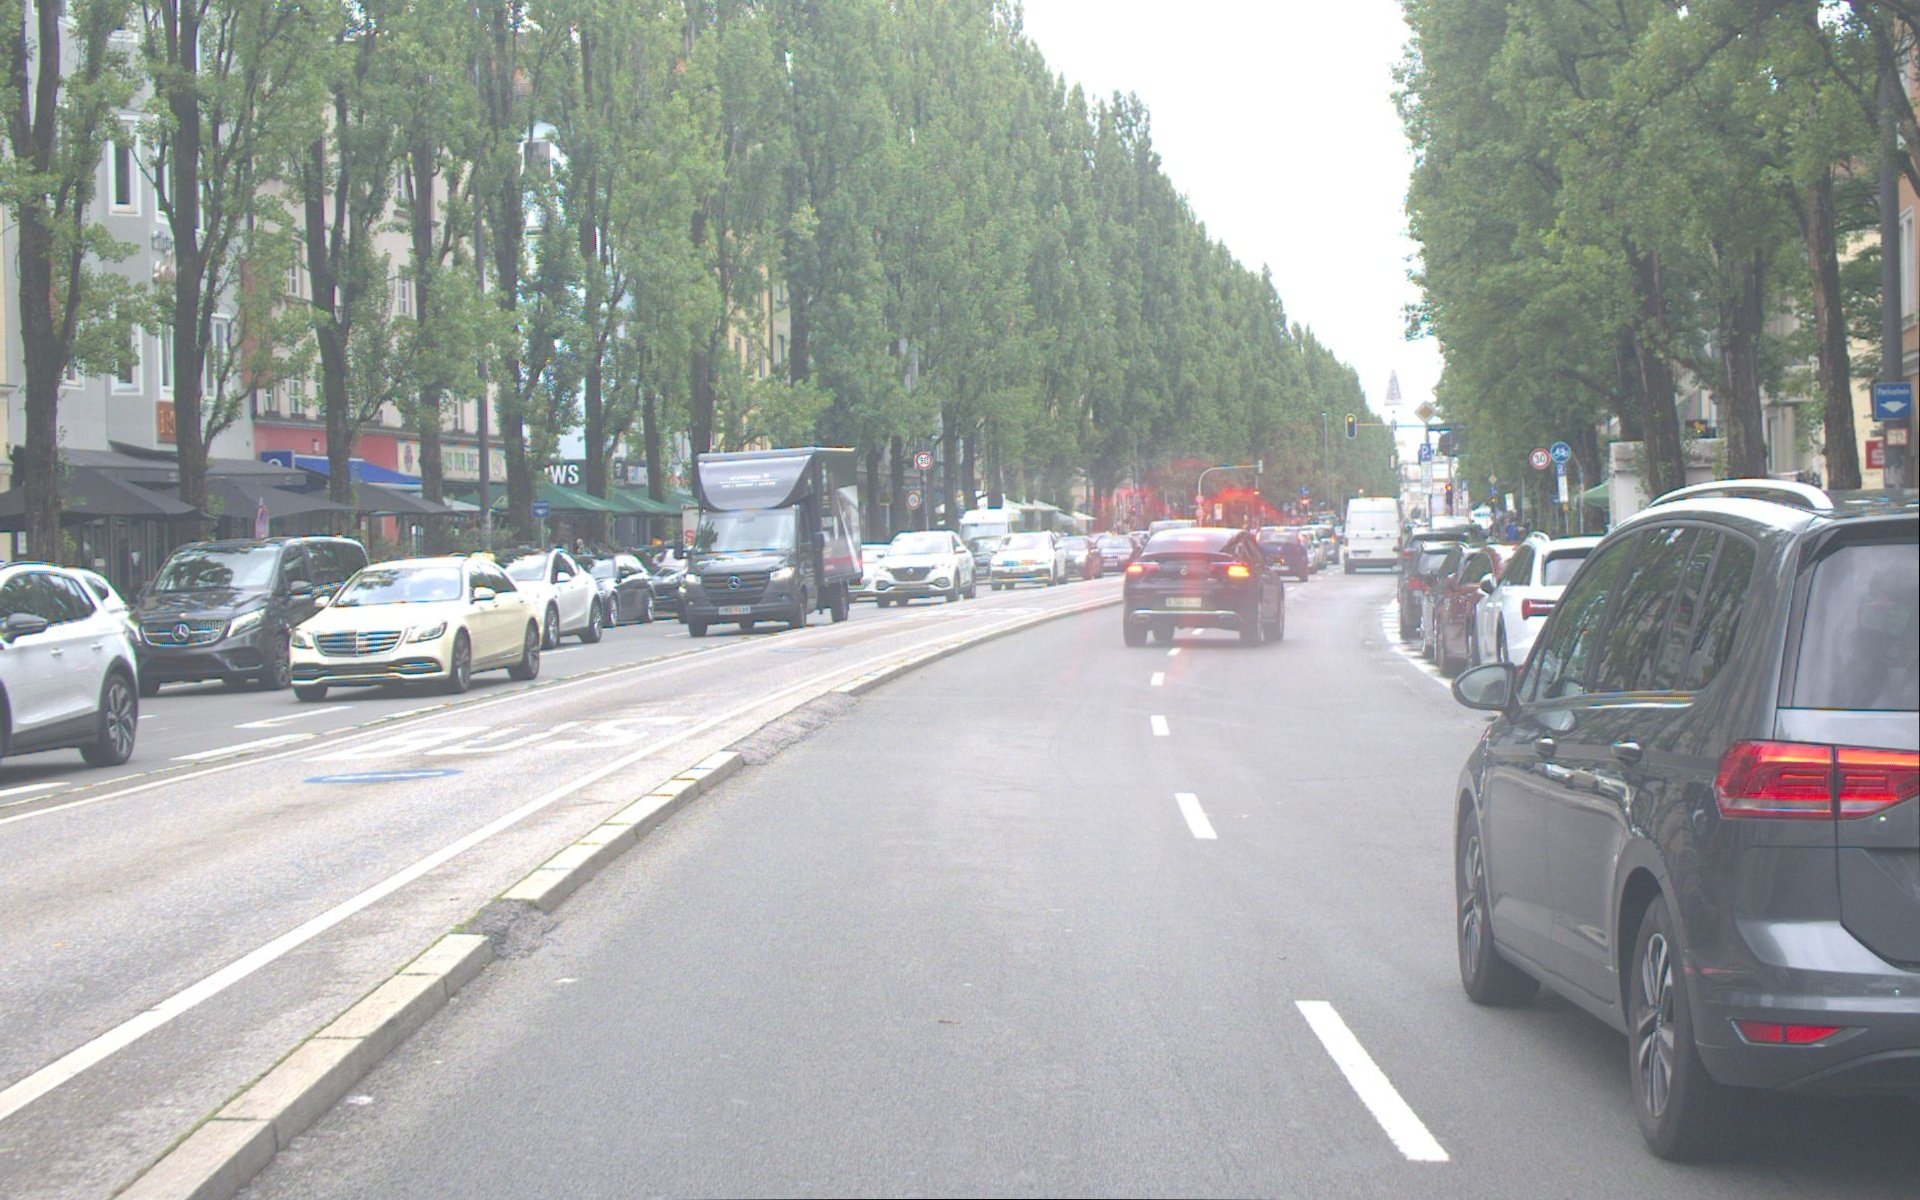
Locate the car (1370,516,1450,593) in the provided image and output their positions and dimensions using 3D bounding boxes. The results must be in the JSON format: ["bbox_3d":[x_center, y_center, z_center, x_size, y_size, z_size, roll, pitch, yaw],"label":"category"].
[{"bbox_3d":[9.742,-1.010,74.455,1.624,1.560,4.370,-1,1,7],"label":"car"}]

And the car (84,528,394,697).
[{"bbox_3d":[-8.983,0.089,43.413,1.994,1.857,5.710,-3,1,7],"label":"car"}]

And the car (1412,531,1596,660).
[{"bbox_3d":[6.535,-0.097,41.675,1.847,1.423,4.425,-1,1,5],"label":"car"}]

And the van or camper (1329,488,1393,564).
[{"bbox_3d":[13.597,-2.481,116.513,2.035,2.467,3.999,-1,0,8],"label":"van or camper"}]

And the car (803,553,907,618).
[{"bbox_3d":[-2.654,-0.389,88.021,1.940,1.488,4.456,-2,1,7],"label":"car"}]

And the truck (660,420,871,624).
[{"bbox_3d":[-3.339,-1.395,60.875,2.292,3.311,7.155,-2,1,8],"label":"truck"}]

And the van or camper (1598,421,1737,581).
[{"bbox_3d":[14.532,-2.030,70.852,2.461,3.101,4.714,-2,1,9],"label":"van or camper"}]

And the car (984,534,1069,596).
[{"bbox_3d":[1.931,-1.014,98.726,1.940,1.636,4.463,-2,1,7],"label":"car"}]

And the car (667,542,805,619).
[{"bbox_3d":[-4.593,-0.433,71.124,1.940,1.429,4.537,-2,1,8],"label":"car"}]

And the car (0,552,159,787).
[{"bbox_3d":[-7.535,0.498,25.242,1.910,1.597,4.354,-2,1,5],"label":"car"}]

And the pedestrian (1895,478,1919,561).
[{"bbox_3d":[18.757,-1.583,67.229,0.821,1.607,0.779,-2,1,11],"label":"pedestrian"}]

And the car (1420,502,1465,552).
[{"bbox_3d":[19.588,-2.942,139.626,1.805,1.985,3.999,0,1,8],"label":"car"}]

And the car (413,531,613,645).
[{"bbox_3d":[-7.153,-0.229,55.479,1.994,1.645,4.635,-2,1,8],"label":"car"}]

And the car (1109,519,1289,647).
[{"bbox_3d":[3.404,-0.280,48.240,1.881,1.636,4.581,-1,1,12],"label":"car"}]

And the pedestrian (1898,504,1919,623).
[{"bbox_3d":[13.071,-0.504,45.823,0.834,1.571,0.938,-2,1,0],"label":"pedestrian"}]

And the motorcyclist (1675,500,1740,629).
[{"bbox_3d":[8.364,-0.400,38.472,0.564,1.401,0.766,-2,1,4],"label":"motorcyclist"}]

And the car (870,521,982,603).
[{"bbox_3d":[-0.738,-0.884,78.382,1.861,1.705,4.535,-2,1,8],"label":"car"}]

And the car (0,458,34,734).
[{"bbox_3d":[-10.444,0.051,30.313,2.170,2.596,6.063,-2,1,7],"label":"car"}]

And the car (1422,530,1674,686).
[{"bbox_3d":[6.031,0.034,35.795,1.931,1.445,4.804,-2,1,2],"label":"car"}]

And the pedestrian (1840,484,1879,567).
[{"bbox_3d":[17.717,-1.463,67.731,0.673,1.607,0.640,-2,1,11],"label":"pedestrian"}]

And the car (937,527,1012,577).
[{"bbox_3d":[0.490,-1.545,111.152,1.849,1.559,4.211,-2,0,8],"label":"car"}]

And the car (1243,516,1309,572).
[{"bbox_3d":[9.218,-1.615,100.153,1.760,1.614,3.746,0,1,8],"label":"car"}]

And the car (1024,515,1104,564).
[{"bbox_3d":[3.326,-1.943,109.329,1.994,1.427,4.771,-2,1,8],"label":"car"}]

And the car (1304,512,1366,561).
[{"bbox_3d":[13.895,-2.363,127.225,1.994,1.711,3.999,-2,1,10],"label":"car"}]

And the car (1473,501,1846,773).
[{"bbox_3d":[4.718,0.206,23.827,1.925,1.694,4.649,0,1,4],"label":"car"}]

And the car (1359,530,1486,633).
[{"bbox_3d":[6.936,-0.312,51.852,1.733,1.389,4.432,-2,1,6],"label":"car"}]

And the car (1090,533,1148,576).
[{"bbox_3d":[5.590,-1.609,120.467,1.712,1.409,3.722,-2,1,7],"label":"car"}]

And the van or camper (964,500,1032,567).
[{"bbox_3d":[1.461,-2.529,129.803,1.994,2.450,4.250,-1,1,8],"label":"van or camper"}]

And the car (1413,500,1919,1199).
[{"bbox_3d":[2.435,0.543,9.408,1.761,1.608,4.184,-1,1,-1],"label":"car"}]

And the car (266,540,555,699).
[{"bbox_3d":[-6.251,0.168,39.790,1.994,1.583,5.195,-3,1,5],"label":"car"}]

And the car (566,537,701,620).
[{"bbox_3d":[-6.913,-0.477,73.154,1.863,1.624,4.167,-2,1,8],"label":"car"}]

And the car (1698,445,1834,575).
[{"bbox_3d":[15.288,-1.718,65.015,1.903,2.320,4.820,-2,1,20],"label":"car"}]

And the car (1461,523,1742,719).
[{"bbox_3d":[5.477,0.118,29.897,1.810,1.495,4.805,-2,1,4],"label":"car"}]

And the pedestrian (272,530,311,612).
[{"bbox_3d":[-15.288,-0.664,78.657,0.638,1.855,0.648,-2,1,8],"label":"pedestrian"}]
